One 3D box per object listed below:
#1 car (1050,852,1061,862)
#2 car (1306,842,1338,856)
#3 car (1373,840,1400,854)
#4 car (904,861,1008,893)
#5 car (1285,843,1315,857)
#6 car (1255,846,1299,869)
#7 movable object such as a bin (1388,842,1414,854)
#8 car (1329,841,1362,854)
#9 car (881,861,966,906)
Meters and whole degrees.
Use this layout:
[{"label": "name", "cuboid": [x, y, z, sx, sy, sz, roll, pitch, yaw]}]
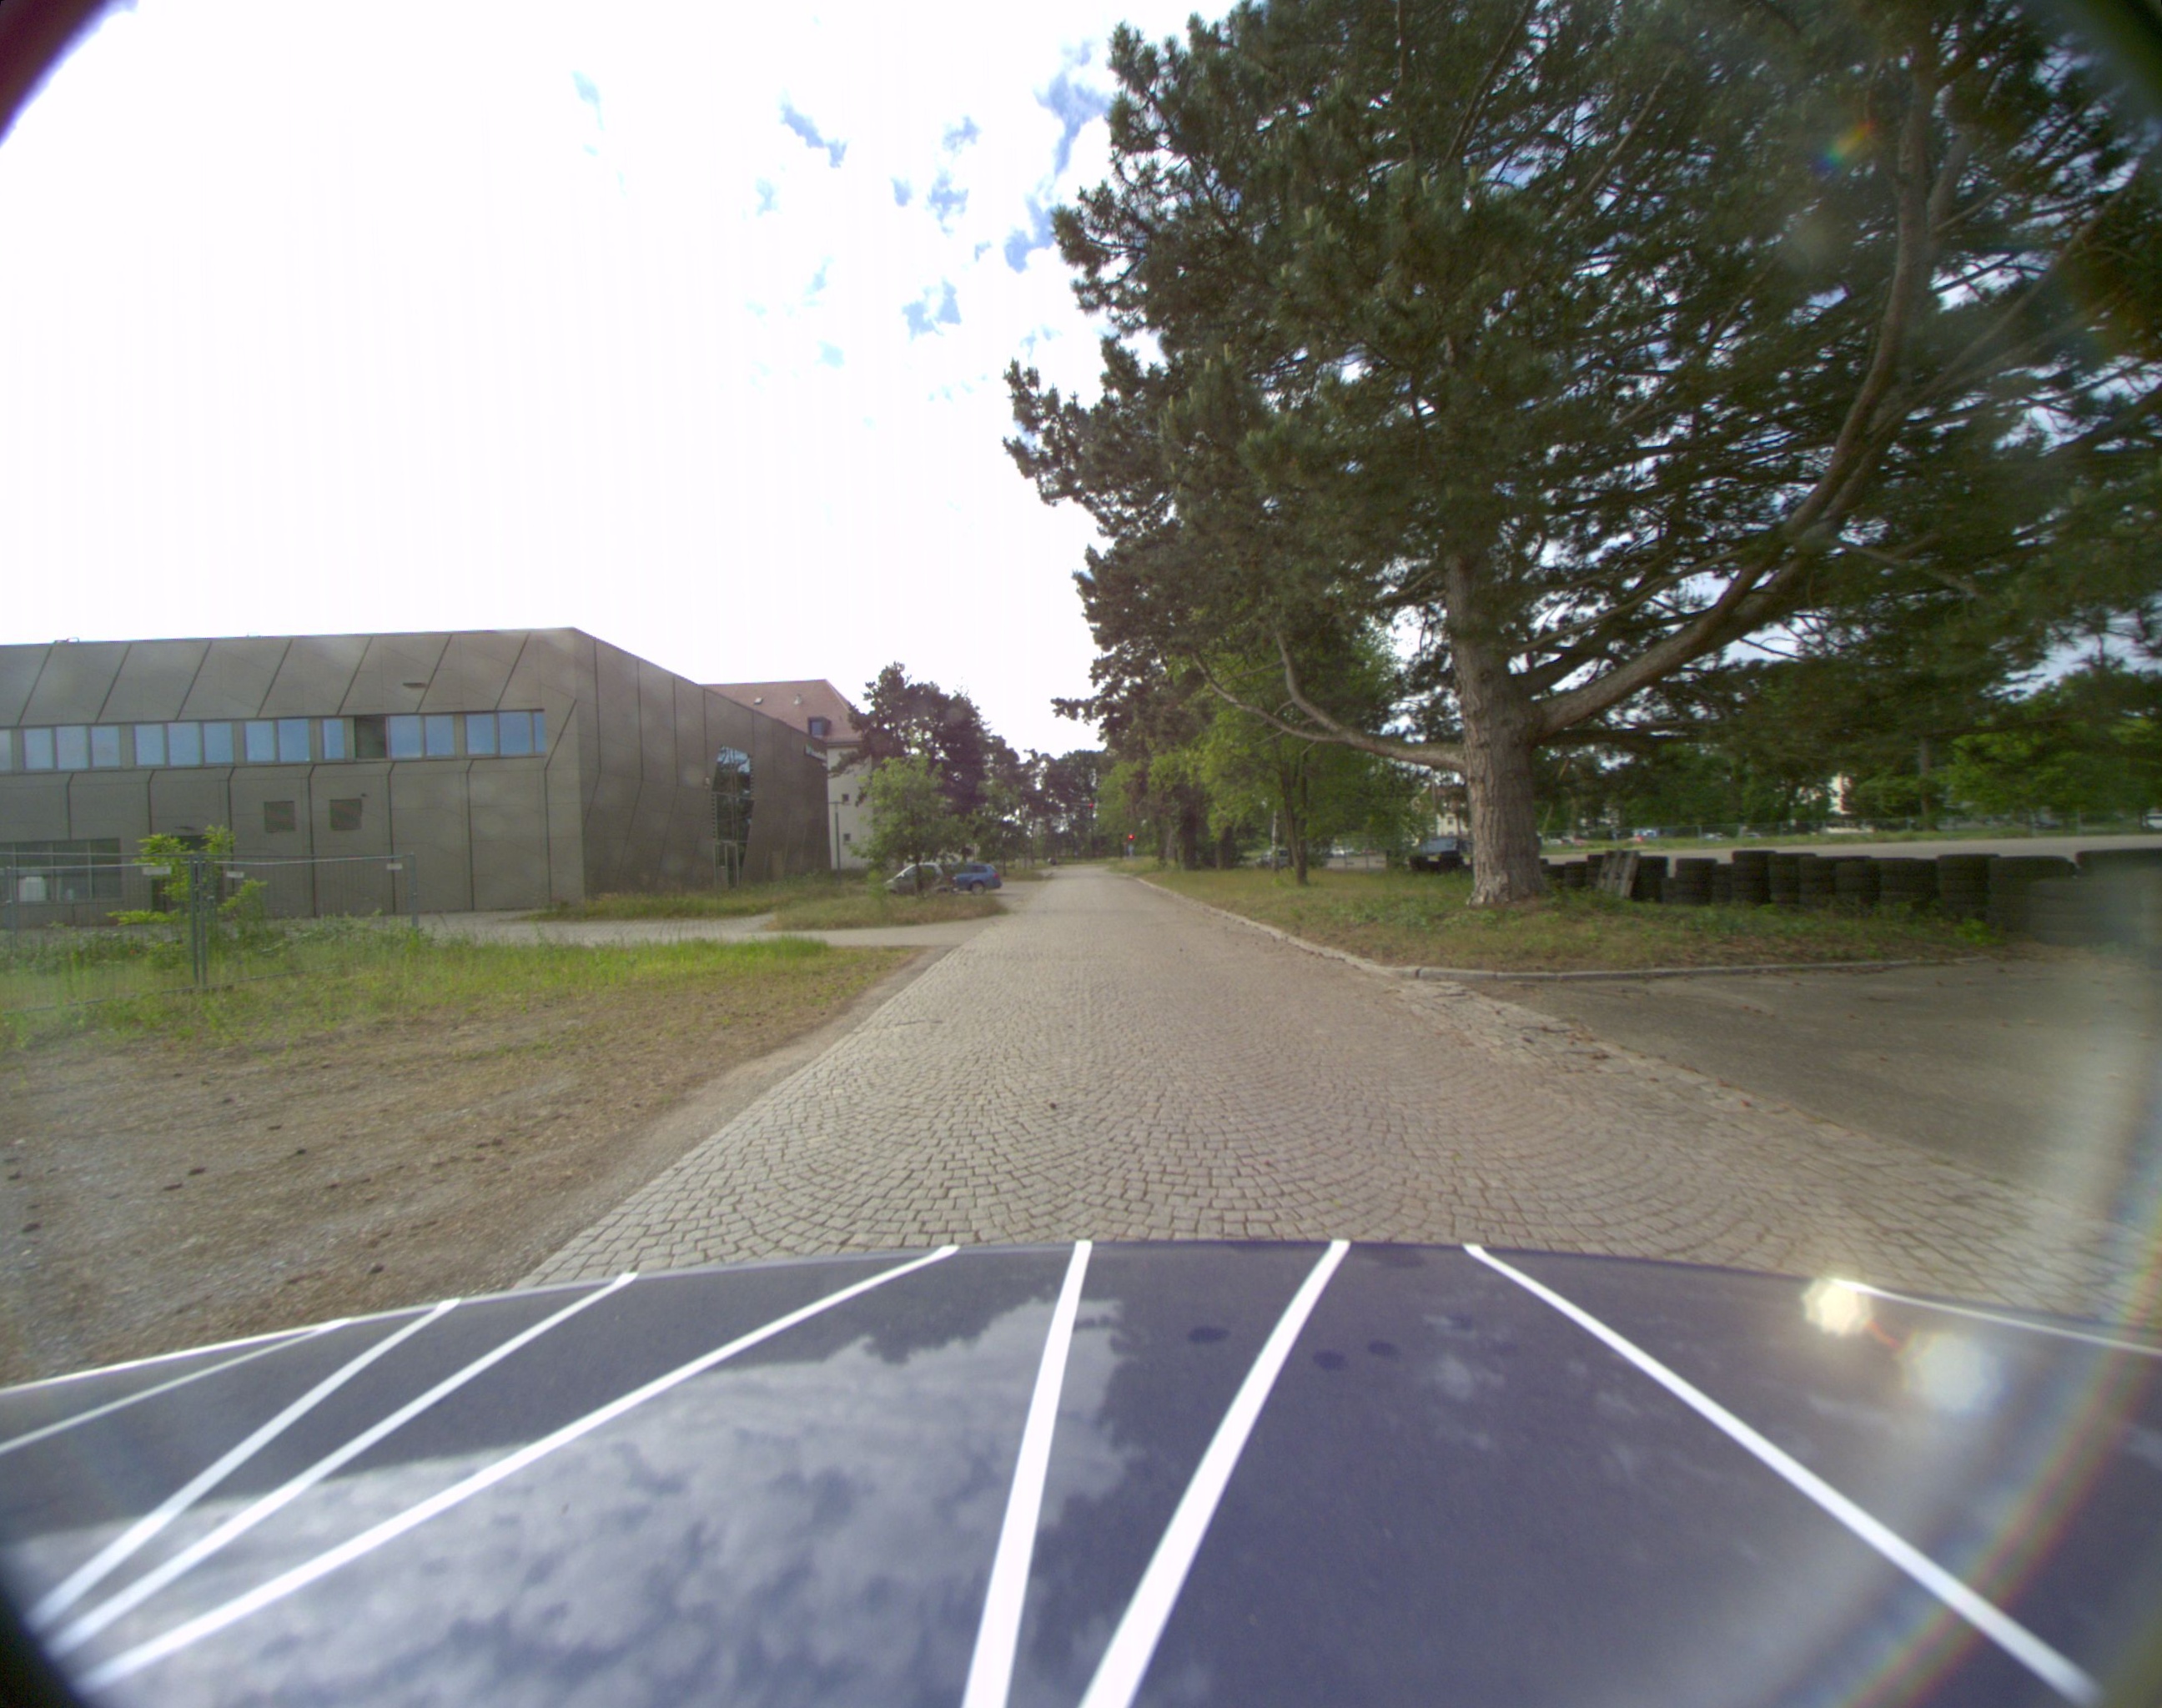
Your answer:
[{"label": "car", "cuboid": [-5.069, 0.622, 150.532, 1.999, 1.777, 3.997, -2, 0, -6]}, {"label": "car", "cuboid": [27.730, -0.581, 87.522, 1.999, 1.441, 4.451, -2, 0, -3]}, {"label": "car", "cuboid": [39.421, -0.896, 98.231, 1.611, 1.674, 3.803, -2, 0, -5]}, {"label": "car", "cuboid": [-5.688, 1.044, 35.016, 4.537, 1.441, 1.931, 0, 0, -2]}, {"label": "car", "cuboid": [25.150, -0.466, 87.415, 1.999, 1.441, 4.451, -2, 0, -3]}, {"label": "car", "cuboid": [12.666, 0.228, 49.329, 1.670, 1.402, 3.722, -2, 0, -3]}, {"label": "movable object such as a bin", "cuboid": [31.665, -0.576, 75.261, 1.057, 1.065, 2.719, -2, 0, -9]}, {"label": "car", "cuboid": [30.608, -0.717, 88.060, 1.999, 1.441, 4.451, -2, 0, -3]}, {"label": "car", "cuboid": [-5.700, 1.064, 27.684, 2.748, 1.573, 1.682, 0, 0, 0]}]
